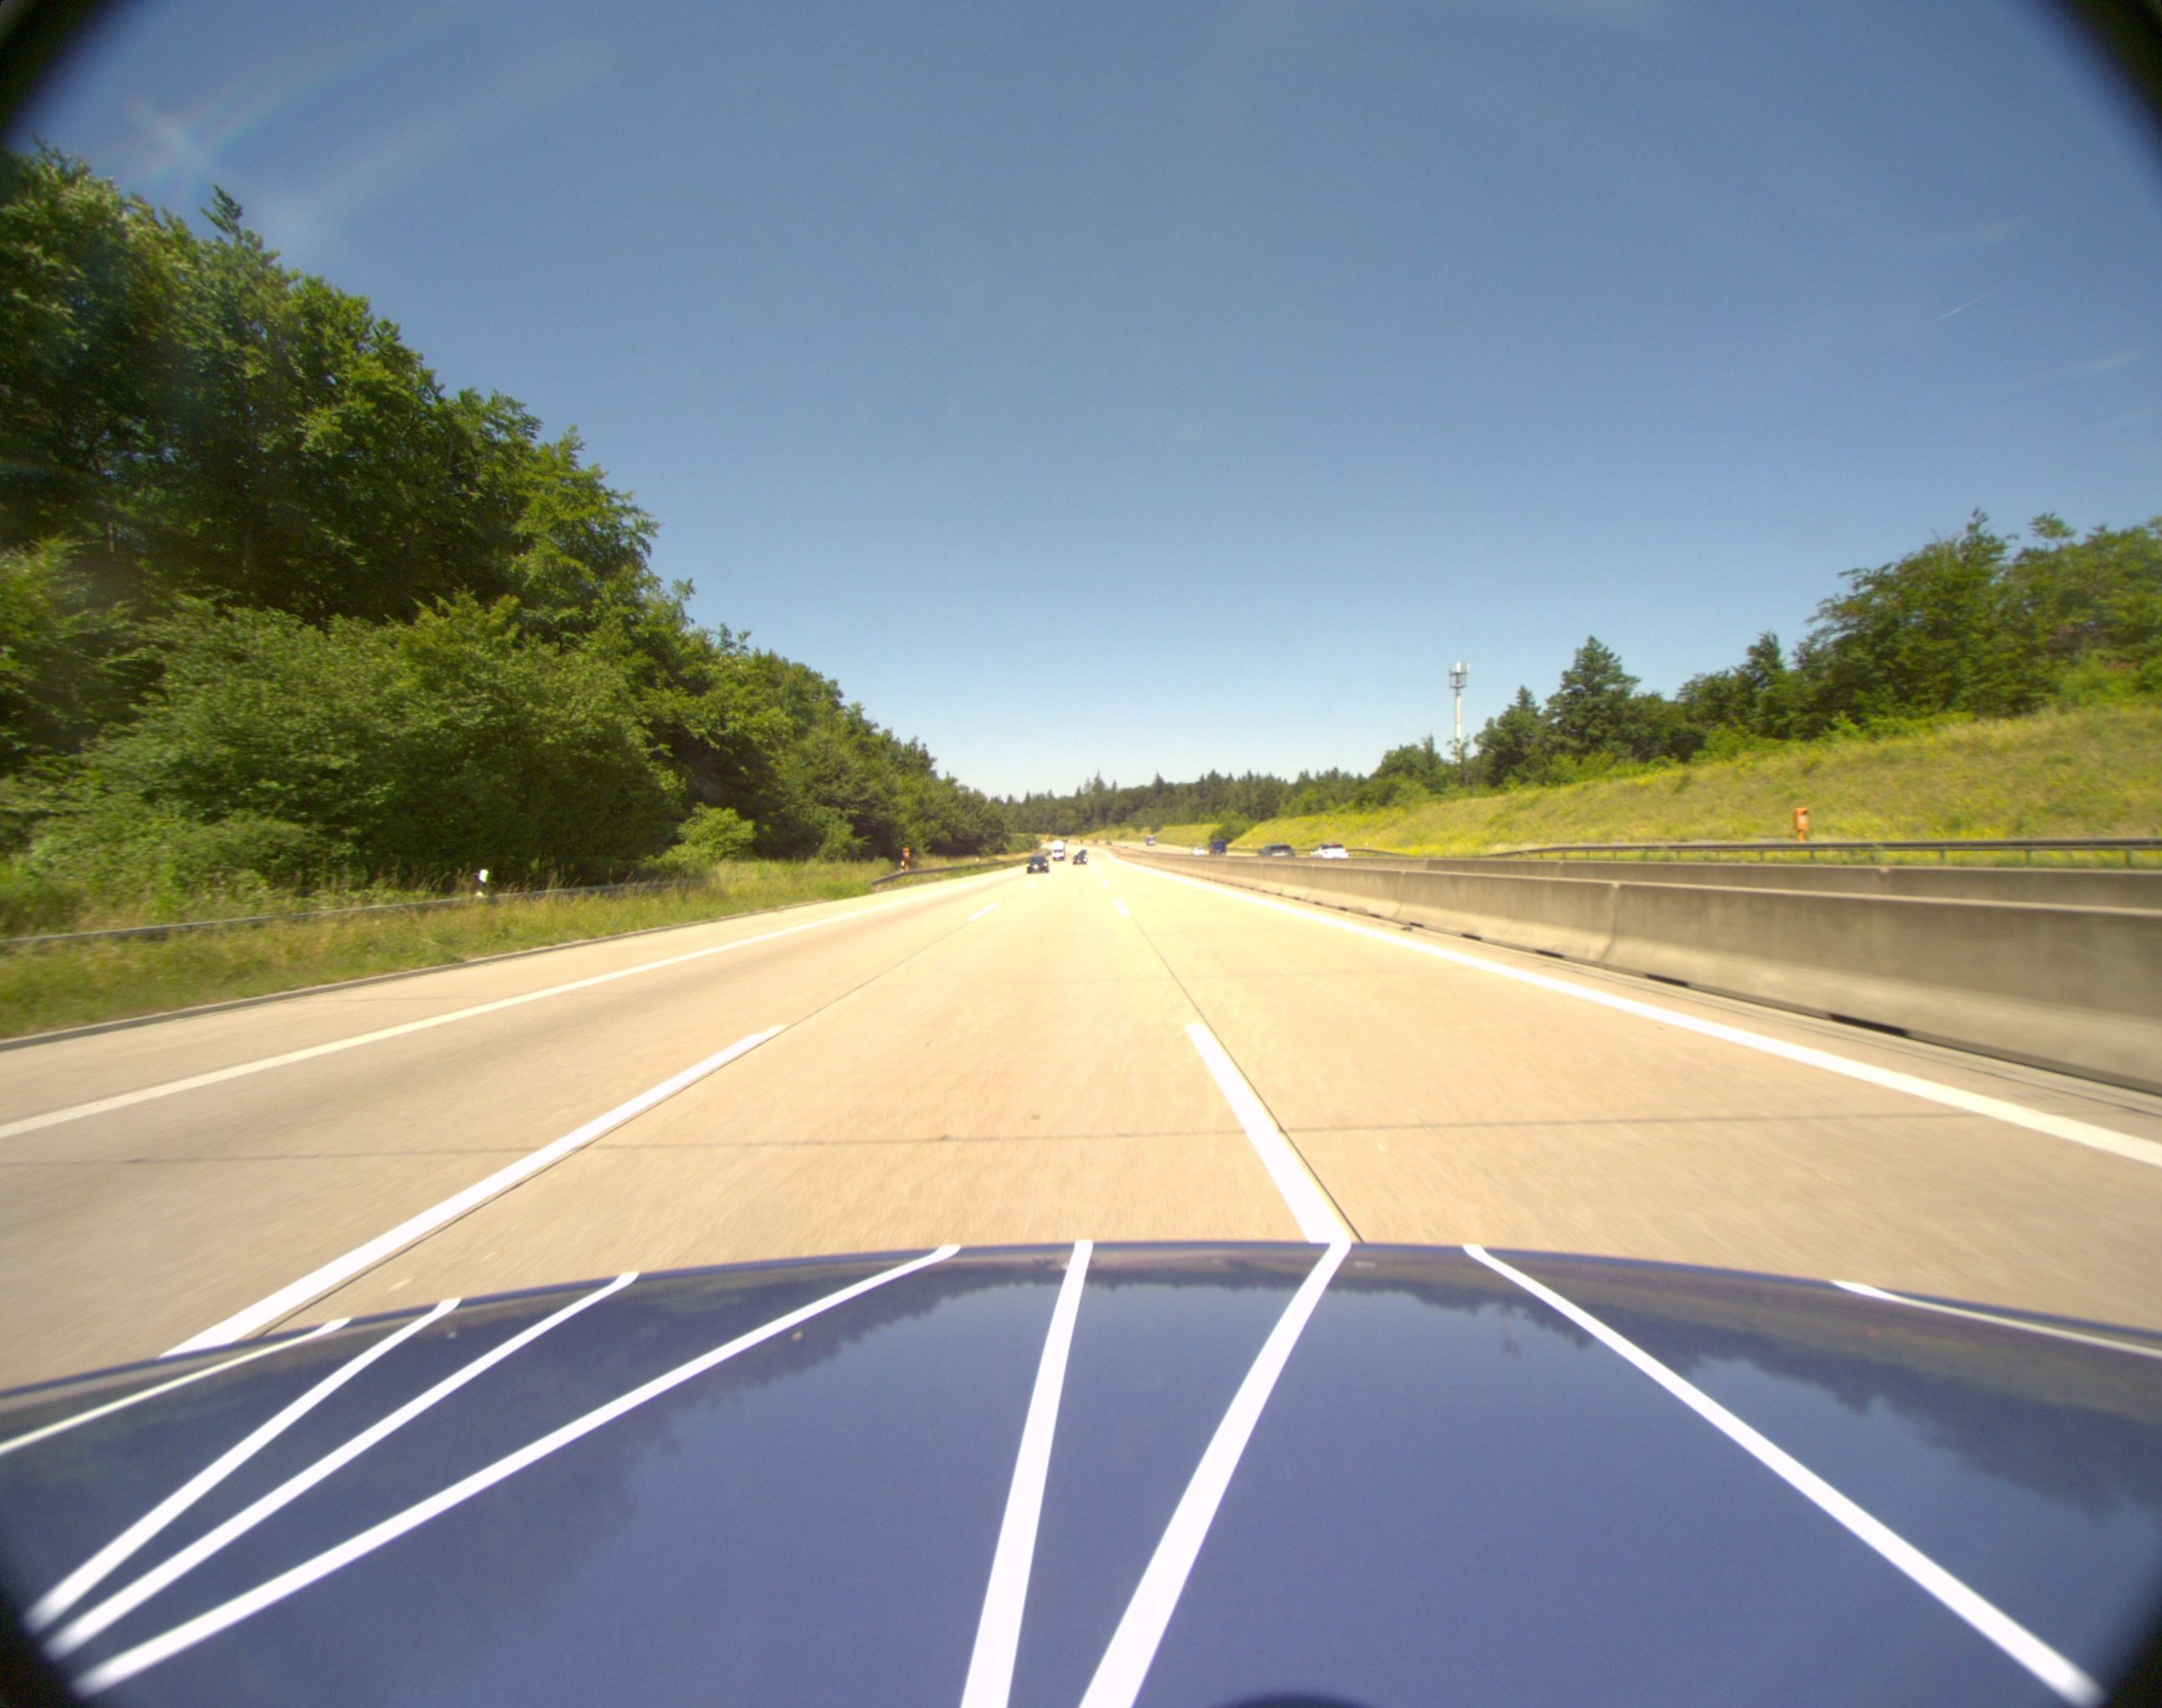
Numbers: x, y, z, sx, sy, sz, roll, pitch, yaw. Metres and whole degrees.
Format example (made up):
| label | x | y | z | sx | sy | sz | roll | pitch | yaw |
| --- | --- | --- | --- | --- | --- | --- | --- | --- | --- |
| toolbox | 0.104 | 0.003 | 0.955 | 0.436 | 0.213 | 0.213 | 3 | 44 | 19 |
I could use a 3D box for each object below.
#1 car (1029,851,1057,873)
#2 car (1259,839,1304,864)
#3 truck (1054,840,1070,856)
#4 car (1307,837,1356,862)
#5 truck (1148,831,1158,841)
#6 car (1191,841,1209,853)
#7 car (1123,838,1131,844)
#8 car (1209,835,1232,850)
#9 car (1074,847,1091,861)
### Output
| label | x | y | z | sx | sy | sz | roll | pitch | yaw |
| --- | --- | --- | --- | --- | --- | --- | --- | --- | --- |
| car | -3.240 | 0.632 | 65.201 | 1.931 | 1.694 | 4.399 | -3 | 1 | 2 |
| car | 13.760 | -0.196 | 52.384 | 1.998 | 1.529 | 4.195 | -3 | 1 | 1 |
| truck | -3.501 | -1.206 | 140.293 | 2.483 | 2.780 | 5.915 | -3 | 1 | 2 |
| car | 17.169 | -0.331 | 52.298 | 1.998 | 1.555 | 4.000 | -3 | 1 | 1 |
| truck | 22.863 | -5.804 | 241.724 | 2.568 | 2.972 | 7.834 | -3 | 1 | 1 |
| car | 18.378 | -1.066 | 117.074 | 2.013 | 1.797 | 4.853 | -3 | 0 | 1 |
| car | 14.908 | -4.218 | 245.414 | 1.999 | 1.595 | 4.410 | -3 | 1 | -1 |
| car | 22.478 | -1.847 | 122.809 | 2.487 | 2.197 | 6.458 | -3 | 0 | 1 |
| car | 0.173 | 0.033 | 101.014 | 1.998 | 1.694 | 4.399 | -3 | 1 | 2 |
